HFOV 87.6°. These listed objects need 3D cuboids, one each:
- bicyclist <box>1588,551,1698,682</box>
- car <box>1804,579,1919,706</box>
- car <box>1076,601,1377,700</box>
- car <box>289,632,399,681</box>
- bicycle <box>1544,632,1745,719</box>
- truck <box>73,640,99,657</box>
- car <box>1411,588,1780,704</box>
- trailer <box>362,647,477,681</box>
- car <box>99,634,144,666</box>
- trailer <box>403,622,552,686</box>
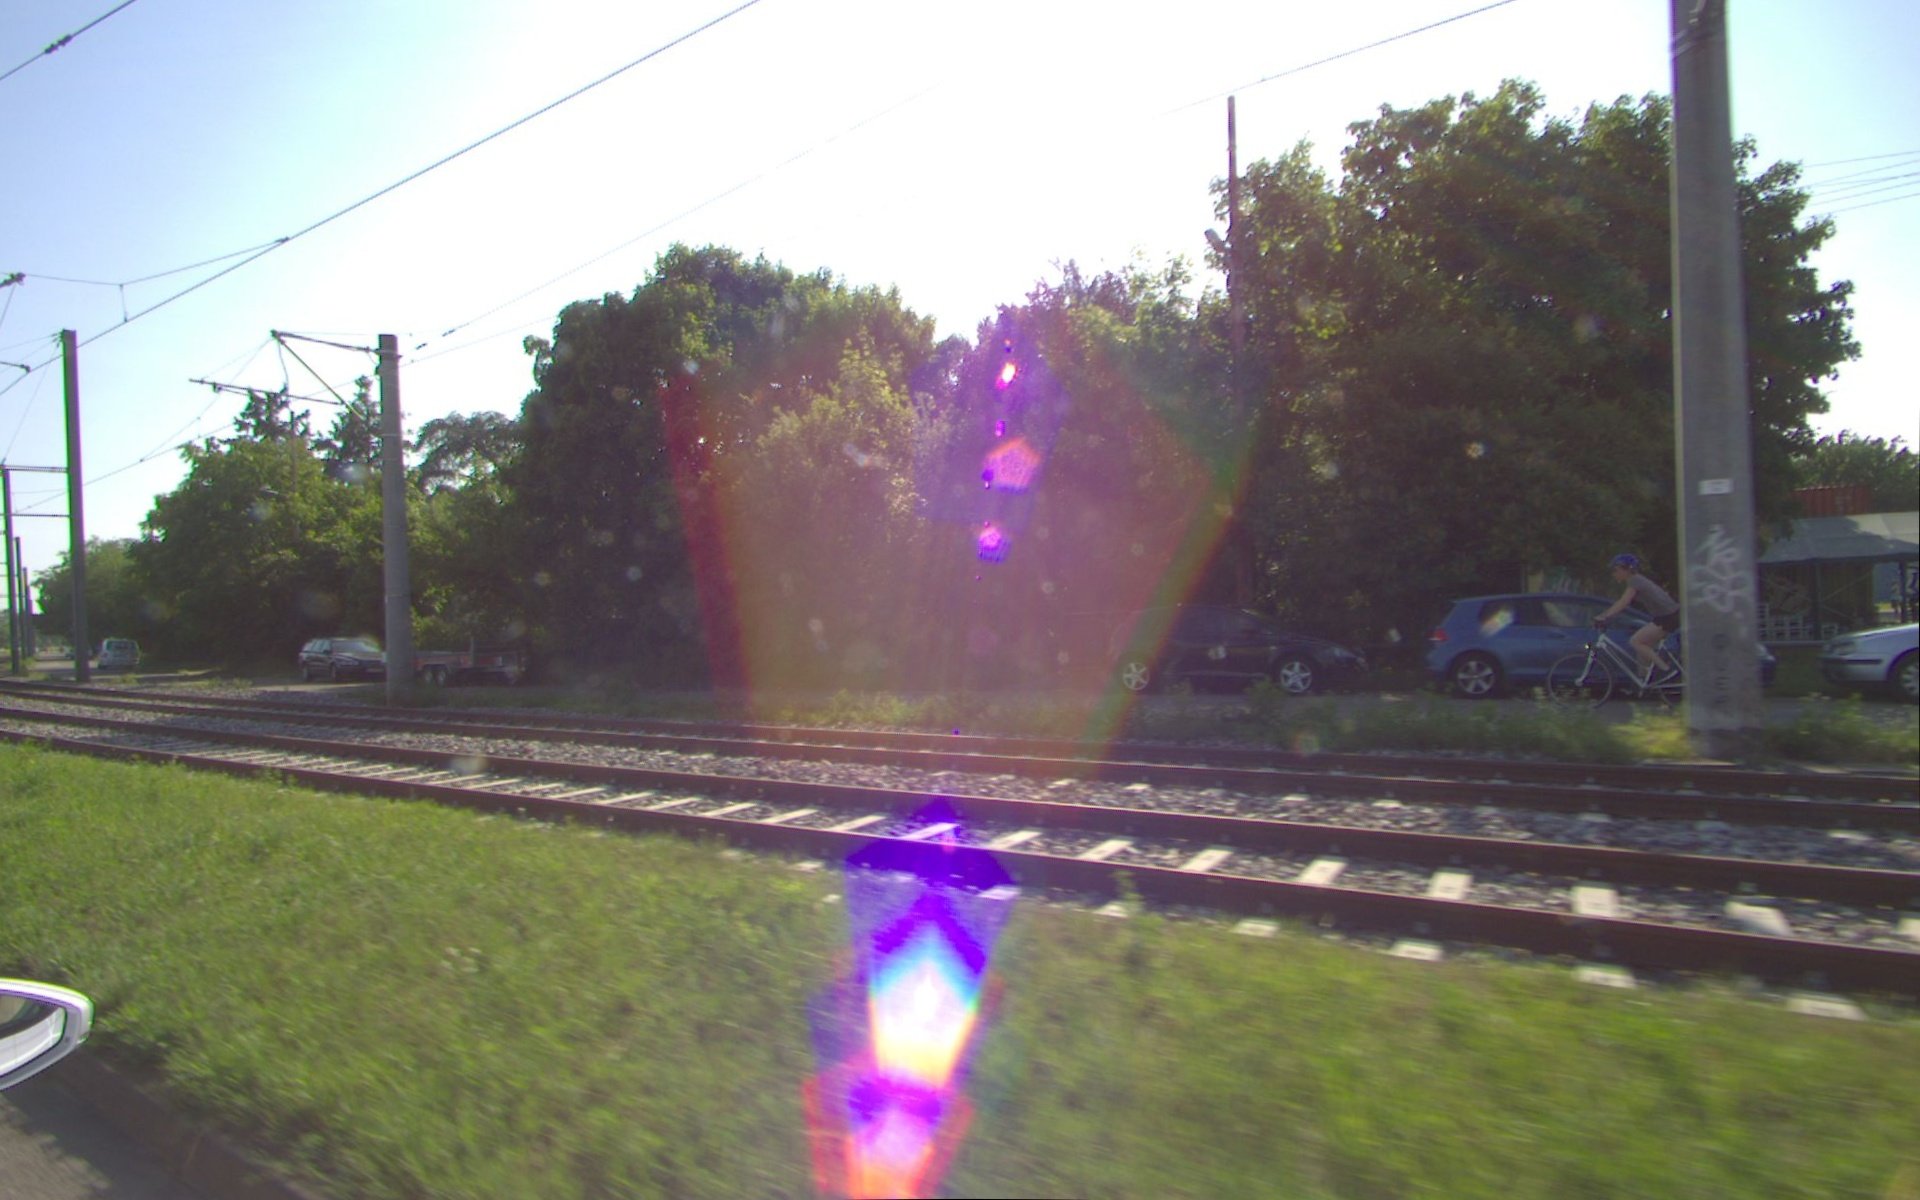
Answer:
[{"bbox_3d":[7.787,0.198,11.453,0.947,1.440,0.629,-2,-1,28],"label":"bicyclist"},{"bbox_3d":[12.804,0.451,11.653,4.327,1.485,1.706,-2,0,32],"label":"car"},{"bbox_3d":[4.272,0.824,16.286,4.454,1.428,1.621,-2,-2,30],"label":"car"},{"bbox_3d":[-20.265,1.827,32.864,4.824,1.475,1.691,-2,-3,41],"label":"car"},{"bbox_3d":[7.765,0.842,11.468,1.816,0.921,0.642,-2,-1,28],"label":"bicycle"},{"bbox_3d":[-105.794,5.854,121.188,2.189,1.842,5.875,-1,-1,-43],"label":"truck"},{"bbox_3d":[8.505,0.620,13.823,4.085,1.419,1.483,-2,0,27],"label":"car"},{"bbox_3d":[-16.286,1.908,30.107,3.683,0.951,1.726,-2,-4,38],"label":"trailer"},{"bbox_3d":[-55.308,3.286,66.009,1.981,2.029,5.020,2,-4,-43],"label":"car"},{"bbox_3d":[-13.282,1.482,27.471,4.207,1.616,2.020,-2,-3,38],"label":"trailer"}]
